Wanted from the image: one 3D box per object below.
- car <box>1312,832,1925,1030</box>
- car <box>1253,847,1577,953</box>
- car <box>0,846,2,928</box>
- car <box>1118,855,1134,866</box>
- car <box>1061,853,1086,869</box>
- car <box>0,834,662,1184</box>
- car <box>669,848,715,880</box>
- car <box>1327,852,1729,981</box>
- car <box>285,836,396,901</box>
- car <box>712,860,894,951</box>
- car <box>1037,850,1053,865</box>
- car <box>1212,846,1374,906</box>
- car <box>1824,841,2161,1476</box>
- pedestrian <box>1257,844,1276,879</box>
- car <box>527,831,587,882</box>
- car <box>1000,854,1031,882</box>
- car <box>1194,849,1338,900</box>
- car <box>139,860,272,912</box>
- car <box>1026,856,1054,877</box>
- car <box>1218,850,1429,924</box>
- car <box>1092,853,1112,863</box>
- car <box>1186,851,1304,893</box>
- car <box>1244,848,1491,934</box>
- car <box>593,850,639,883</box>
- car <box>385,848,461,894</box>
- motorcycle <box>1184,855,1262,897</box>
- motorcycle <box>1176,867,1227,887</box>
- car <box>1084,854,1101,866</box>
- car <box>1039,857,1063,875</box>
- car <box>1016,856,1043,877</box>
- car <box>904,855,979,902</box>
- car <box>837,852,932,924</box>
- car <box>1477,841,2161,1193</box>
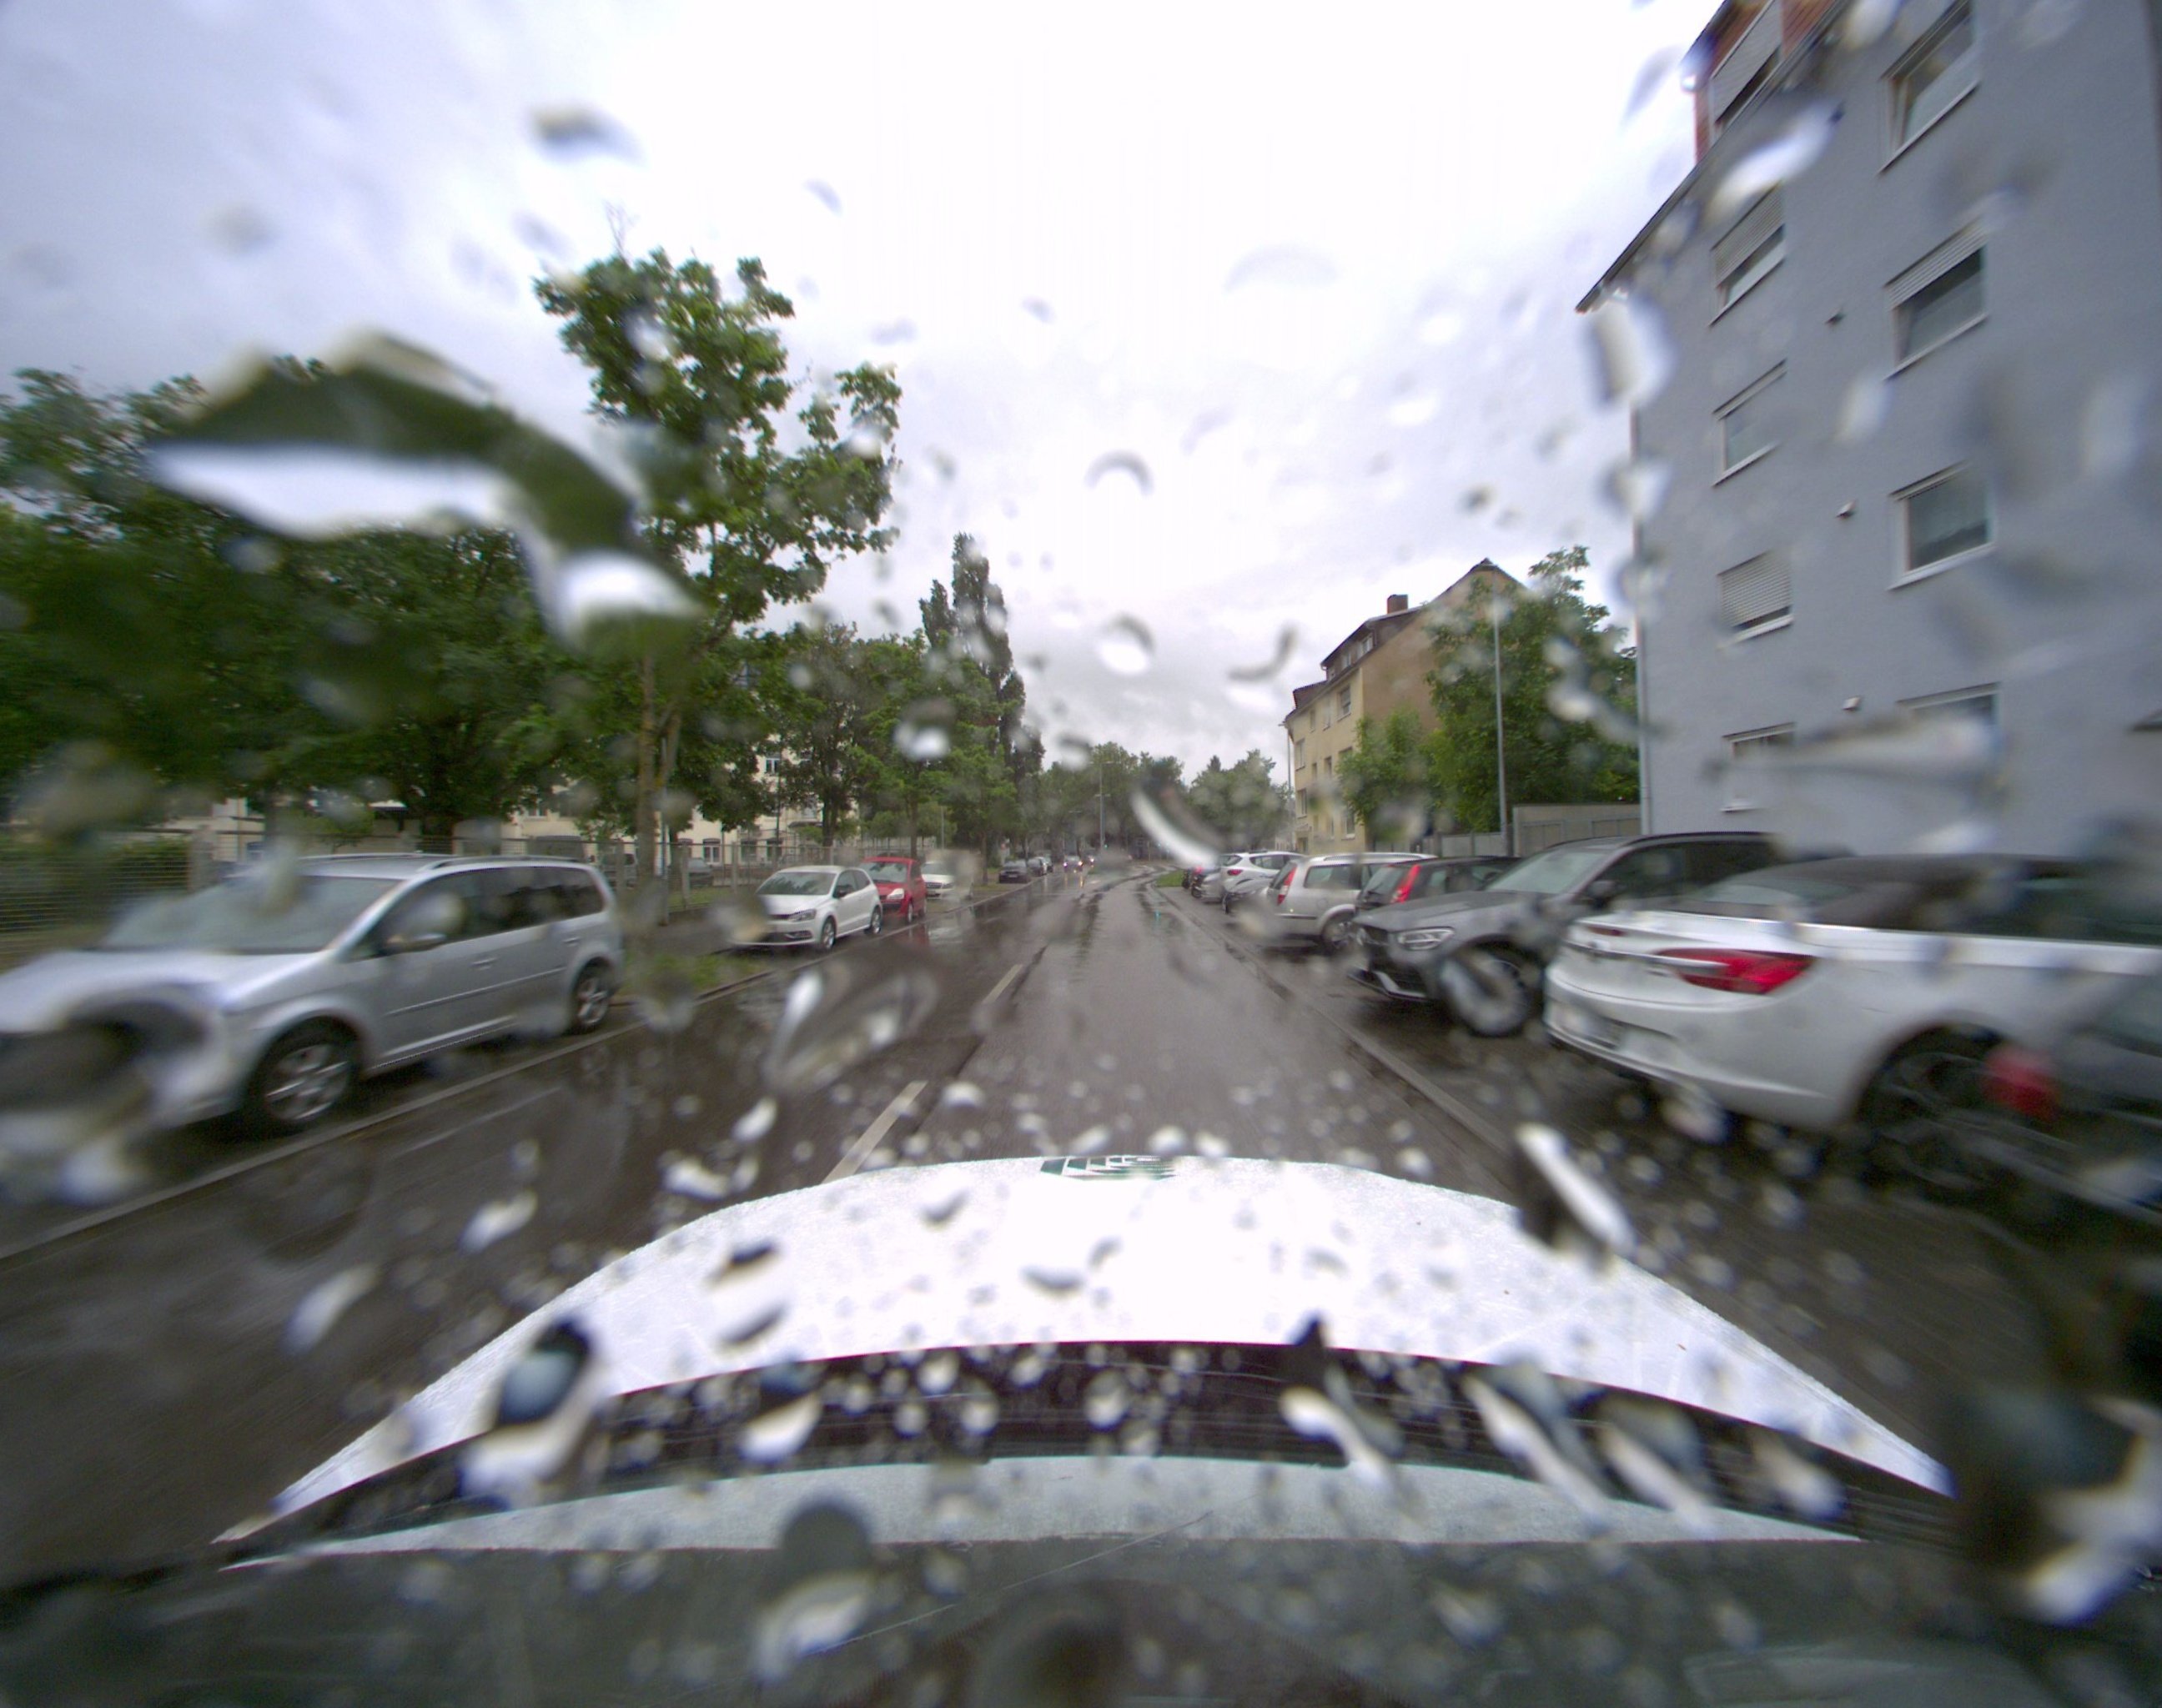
[{"bbox_3d":[4.569,0.625,7.530,4.325,1.552,2.040,0,-1,1],"label":"car"},{"bbox_3d":[4.873,0.651,12.489,4.246,1.454,1.988,0,1,7],"label":"car"},{"bbox_3d":[-20.561,0.587,13.578,1.858,1.573,3.958,0,-1,-34],"label":"car"},{"bbox_3d":[6.545,0.900,118.909,1.847,1.524,3.993,-1,0,-5],"label":"car"},{"bbox_3d":[-0.696,0.642,76.300,1.985,1.486,4.004,0,0,4],"label":"car"},{"bbox_3d":[-5.400,0.733,6.285,1.769,1.680,4.603,1,0,2],"label":"car"},{"bbox_3d":[-18.531,0.472,38.726,1.715,1.434,3.615,0,-1,-29],"label":"car"},{"bbox_3d":[5.288,0.706,10.058,3.972,1.412,1.846,0,0,1],"label":"car"},{"bbox_3d":[-24.839,0.463,27.486,2.006,2.014,3.960,0,-1,-31],"label":"car"},{"bbox_3d":[-4.956,0.840,15.193,1.653,1.460,4.179,0,0,5],"label":"car"},{"bbox_3d":[-7.790,0.744,174.778,2.226,3.237,4.640,0,-1,-19],"label":"car"},{"bbox_3d":[5.735,0.584,22.357,3.974,1.552,1.905,0,-1,0],"label":"car"},{"bbox_3d":[4.437,0.678,1.785,3.972,1.442,1.782,0,-1,1],"label":"car"},{"bbox_3d":[10.849,0.427,47.611,1.002,2.014,0.957,-1,-1,19],"label":"pedestrian"},{"bbox_3d":[-22.978,0.122,35.858,2.006,2.122,3.961,0,-1,-30],"label":"car"},{"bbox_3d":[-3.962,0.808,48.906,1.772,1.530,3.994,0,1,-5],"label":"car"},{"bbox_3d":[5.594,0.607,24.914,3.976,1.490,1.861,0,-1,-2],"label":"car"},{"bbox_3d":[-28.065,0.969,26.267,2.006,1.509,3.514,0,0,-31],"label":"car"},{"bbox_3d":[-3.524,1.085,70.027,1.918,1.731,4.004,0,0,4],"label":"car"},{"bbox_3d":[5.022,0.663,17.263,3.972,1.466,1.782,0,0,2],"label":"car"},{"bbox_3d":[3.470,0.655,134.477,1.856,1.524,4.125,-1,0,-20],"label":"car"},{"bbox_3d":[5.902,0.636,29.694,3.971,1.461,1.936,0,-1,2],"label":"car"},{"bbox_3d":[5.111,0.657,14.986,3.969,1.474,1.805,0,-1,4],"label":"car"},{"bbox_3d":[-21.049,0.551,36.912,1.715,1.434,3.615,0,-1,-29],"label":"car"},{"bbox_3d":[-27.346,0.669,33.974,1.942,1.785,3.960,0,-1,-31],"label":"car"},{"bbox_3d":[4.668,0.717,26.844,2.393,1.324,0.918,0,-1,-3],"label":"motorcycle"},{"bbox_3d":[5.079,0.958,34.339,2.061,0.792,0.712,0,0,8],"label":"motorcycle"},{"bbox_3d":[1.655,0.856,118.395,1.741,1.689,3.984,0,0,-11],"label":"car"},{"bbox_3d":[-2.949,1.148,80.295,1.918,1.731,4.004,0,0,4],"label":"car"},{"bbox_3d":[-4.006,0.953,63.719,1.923,1.484,3.998,-2,0,-1],"label":"car"},{"bbox_3d":[-4.849,0.828,28.888,1.762,1.528,4.599,0,0,1],"label":"car"},{"bbox_3d":[-4.841,0.784,20.563,1.621,1.598,4.196,0,0,-4],"label":"car"},{"bbox_3d":[4.653,0.677,4.388,4.080,1.458,2.002,-1,0,3],"label":"car"}]
